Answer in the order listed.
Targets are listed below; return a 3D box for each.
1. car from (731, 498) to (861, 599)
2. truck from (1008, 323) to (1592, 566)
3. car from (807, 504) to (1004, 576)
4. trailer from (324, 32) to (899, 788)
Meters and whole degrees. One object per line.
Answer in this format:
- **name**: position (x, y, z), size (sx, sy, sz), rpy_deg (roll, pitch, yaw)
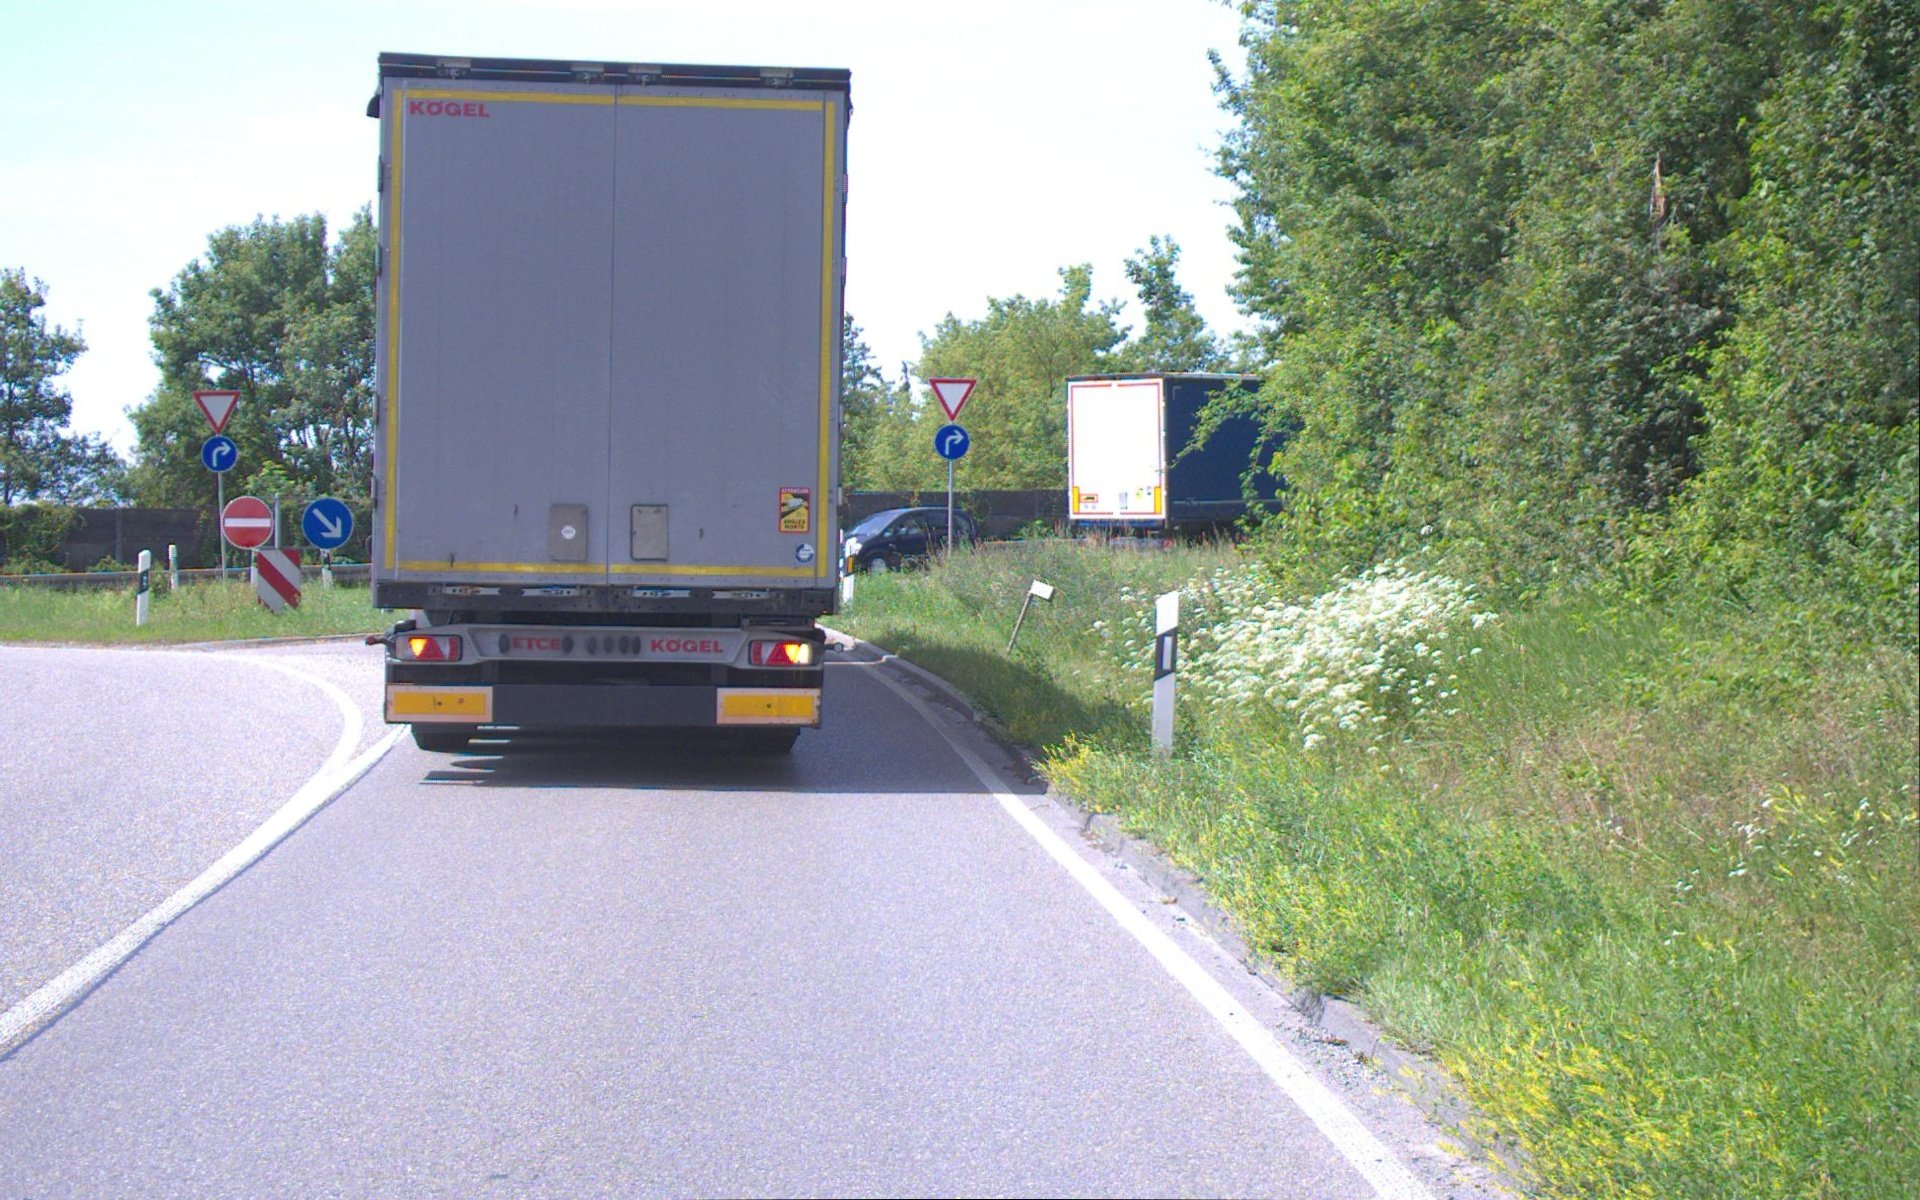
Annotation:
- **car**: position (-2.519, -0.832, 53.668), size (1.666, 1.481, 4.000), rpy_deg (-1, 2, 2)
- **truck**: position (7.790, -3.291, 74.638), size (3.838, 4.728, 16.164), rpy_deg (0, 2, 41)
- **car**: position (-1.192, -1.349, 76.193), size (4.094, 1.533, 1.755), rpy_deg (-2, 2, -37)
- **trailer**: position (-2.342, -1.223, 25.235), size (3.026, 4.020, 13.355), rpy_deg (1, 2, -4)
